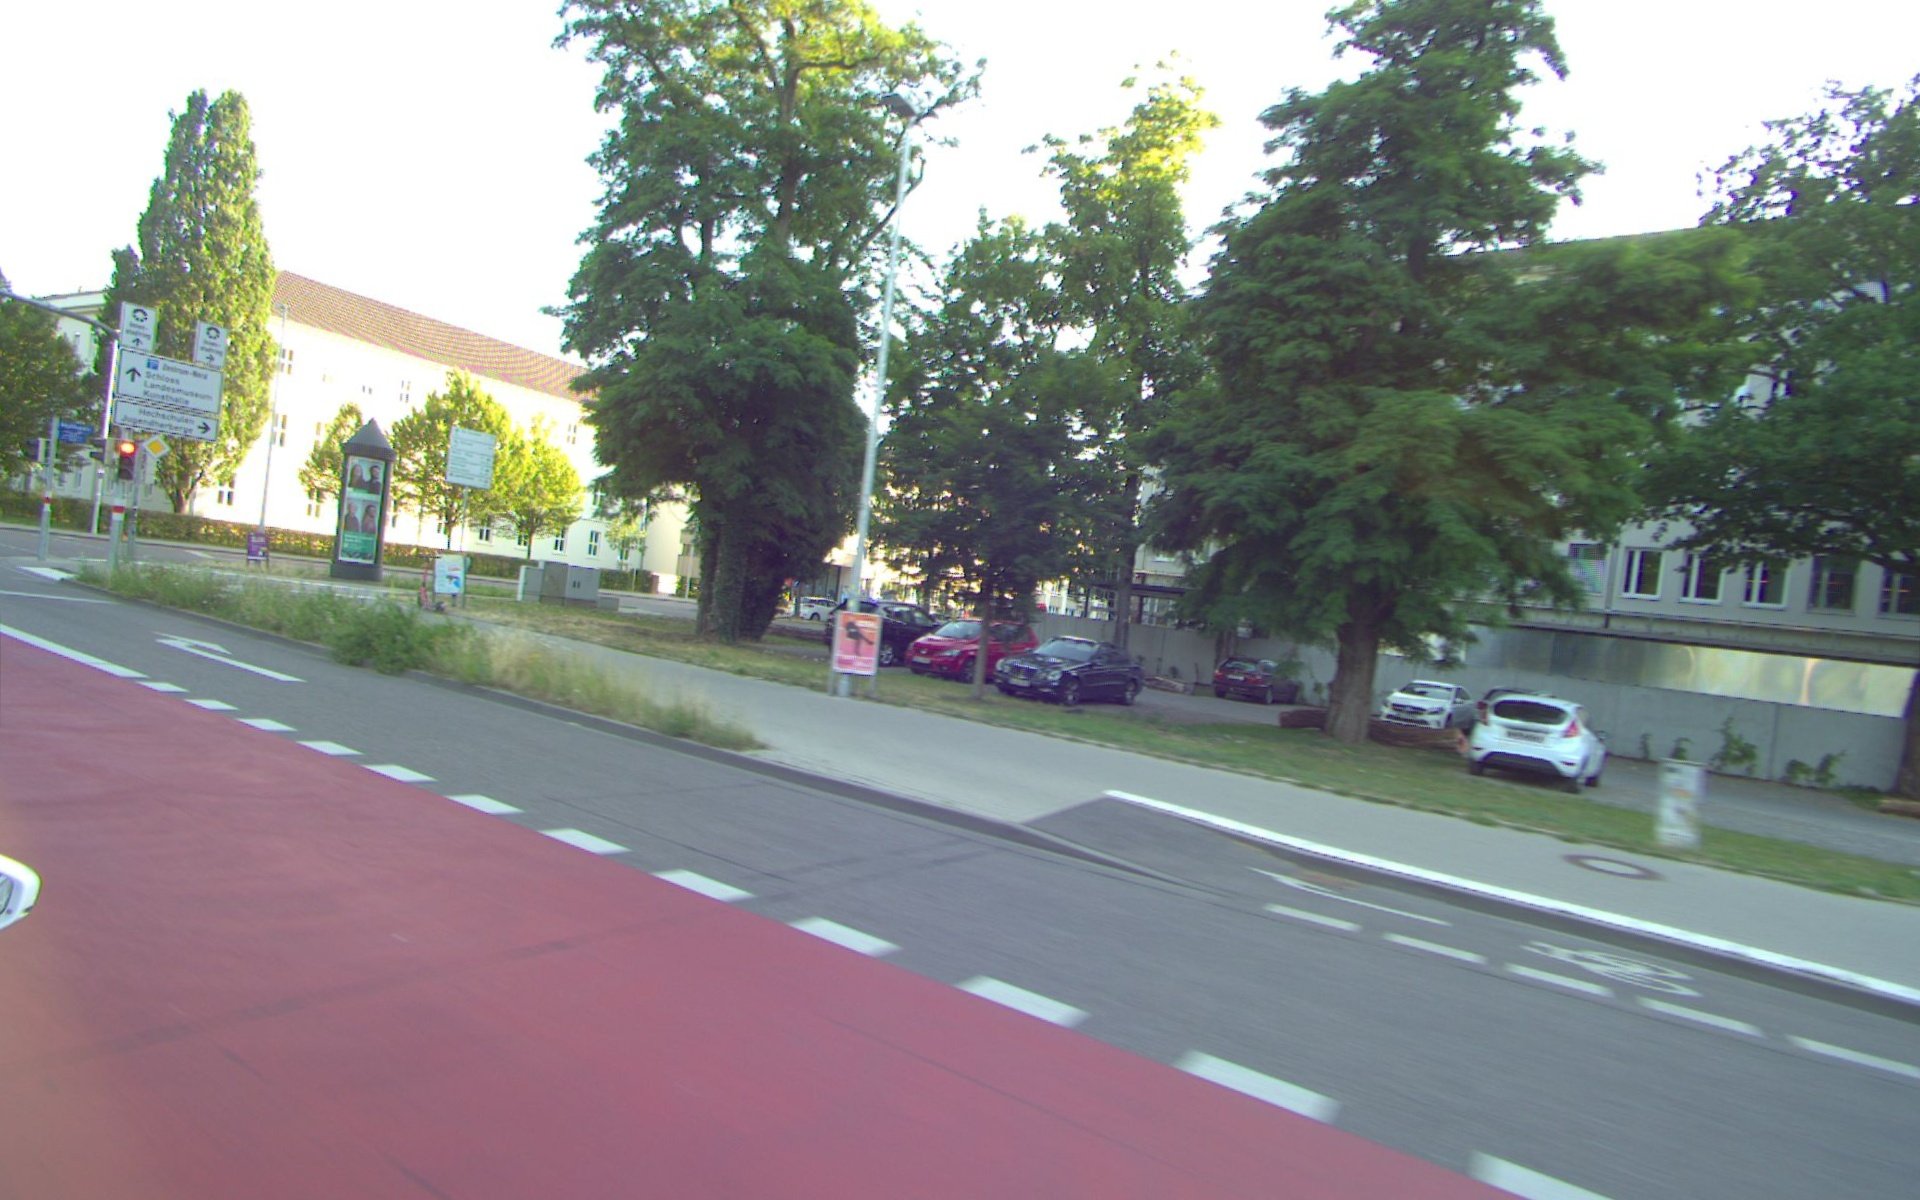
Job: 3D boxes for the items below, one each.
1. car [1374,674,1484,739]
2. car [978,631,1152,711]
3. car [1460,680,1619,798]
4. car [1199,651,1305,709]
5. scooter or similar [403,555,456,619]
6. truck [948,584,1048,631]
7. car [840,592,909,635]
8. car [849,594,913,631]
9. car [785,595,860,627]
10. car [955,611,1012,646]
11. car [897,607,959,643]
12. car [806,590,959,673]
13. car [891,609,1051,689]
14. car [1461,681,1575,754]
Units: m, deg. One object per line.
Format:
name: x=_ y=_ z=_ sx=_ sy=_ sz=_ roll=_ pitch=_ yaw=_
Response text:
car: x=13.611 y=3.105 z=29.083 sx=1.807 sy=1.492 sz=3.986 roll=7 pitch=-2 yaw=40
car: x=2.504 y=1.582 z=22.837 sx=1.871 sy=1.467 sz=4.568 roll=5 pitch=0 yaw=35
car: x=10.162 y=2.370 z=17.495 sx=1.882 sy=1.555 sz=3.990 roll=7 pitch=-2 yaw=36
car: x=9.518 y=2.633 z=32.605 sx=1.874 sy=1.459 sz=3.988 roll=7 pitch=-2 yaw=38
scooter or similar: x=-11.500 y=-0.288 z=21.807 sx=1.289 sy=1.246 sz=0.311 roll=7 pitch=1 yaw=33
truck: x=3.026 y=0.650 z=76.219 sx=2.328 sy=2.314 sz=10.051 roll=7 pitch=-2 yaw=35
car: x=-5.071 y=0.824 z=60.080 sx=1.714 sy=2.037 sz=3.988 roll=7 pitch=-2 yaw=37
car: x=-4.993 y=0.803 z=63.963 sx=1.721 sy=1.782 sz=3.990 roll=7 pitch=-2 yaw=36
car: x=-7.720 y=0.645 z=56.649 sx=1.793 sy=1.358 sz=3.985 roll=6 pitch=-1 yaw=38
car: x=1.613 y=1.949 z=68.485 sx=1.699 sy=1.878 sz=3.989 roll=7 pitch=-2 yaw=37
car: x=-2.000 y=1.607 z=63.931 sx=1.721 sy=1.782 sz=3.990 roll=7 pitch=-2 yaw=36
car: x=-1.984 y=0.886 z=26.873 sx=1.808 sy=1.714 sz=3.899 roll=7 pitch=-2 yaw=37
car: x=0.343 y=1.262 z=25.025 sx=1.759 sy=1.580 sz=3.984 roll=7 pitch=-1 yaw=39
car: x=15.562 y=3.291 z=27.969 sx=1.887 sy=1.635 sz=3.984 roll=6 pitch=-3 yaw=41
